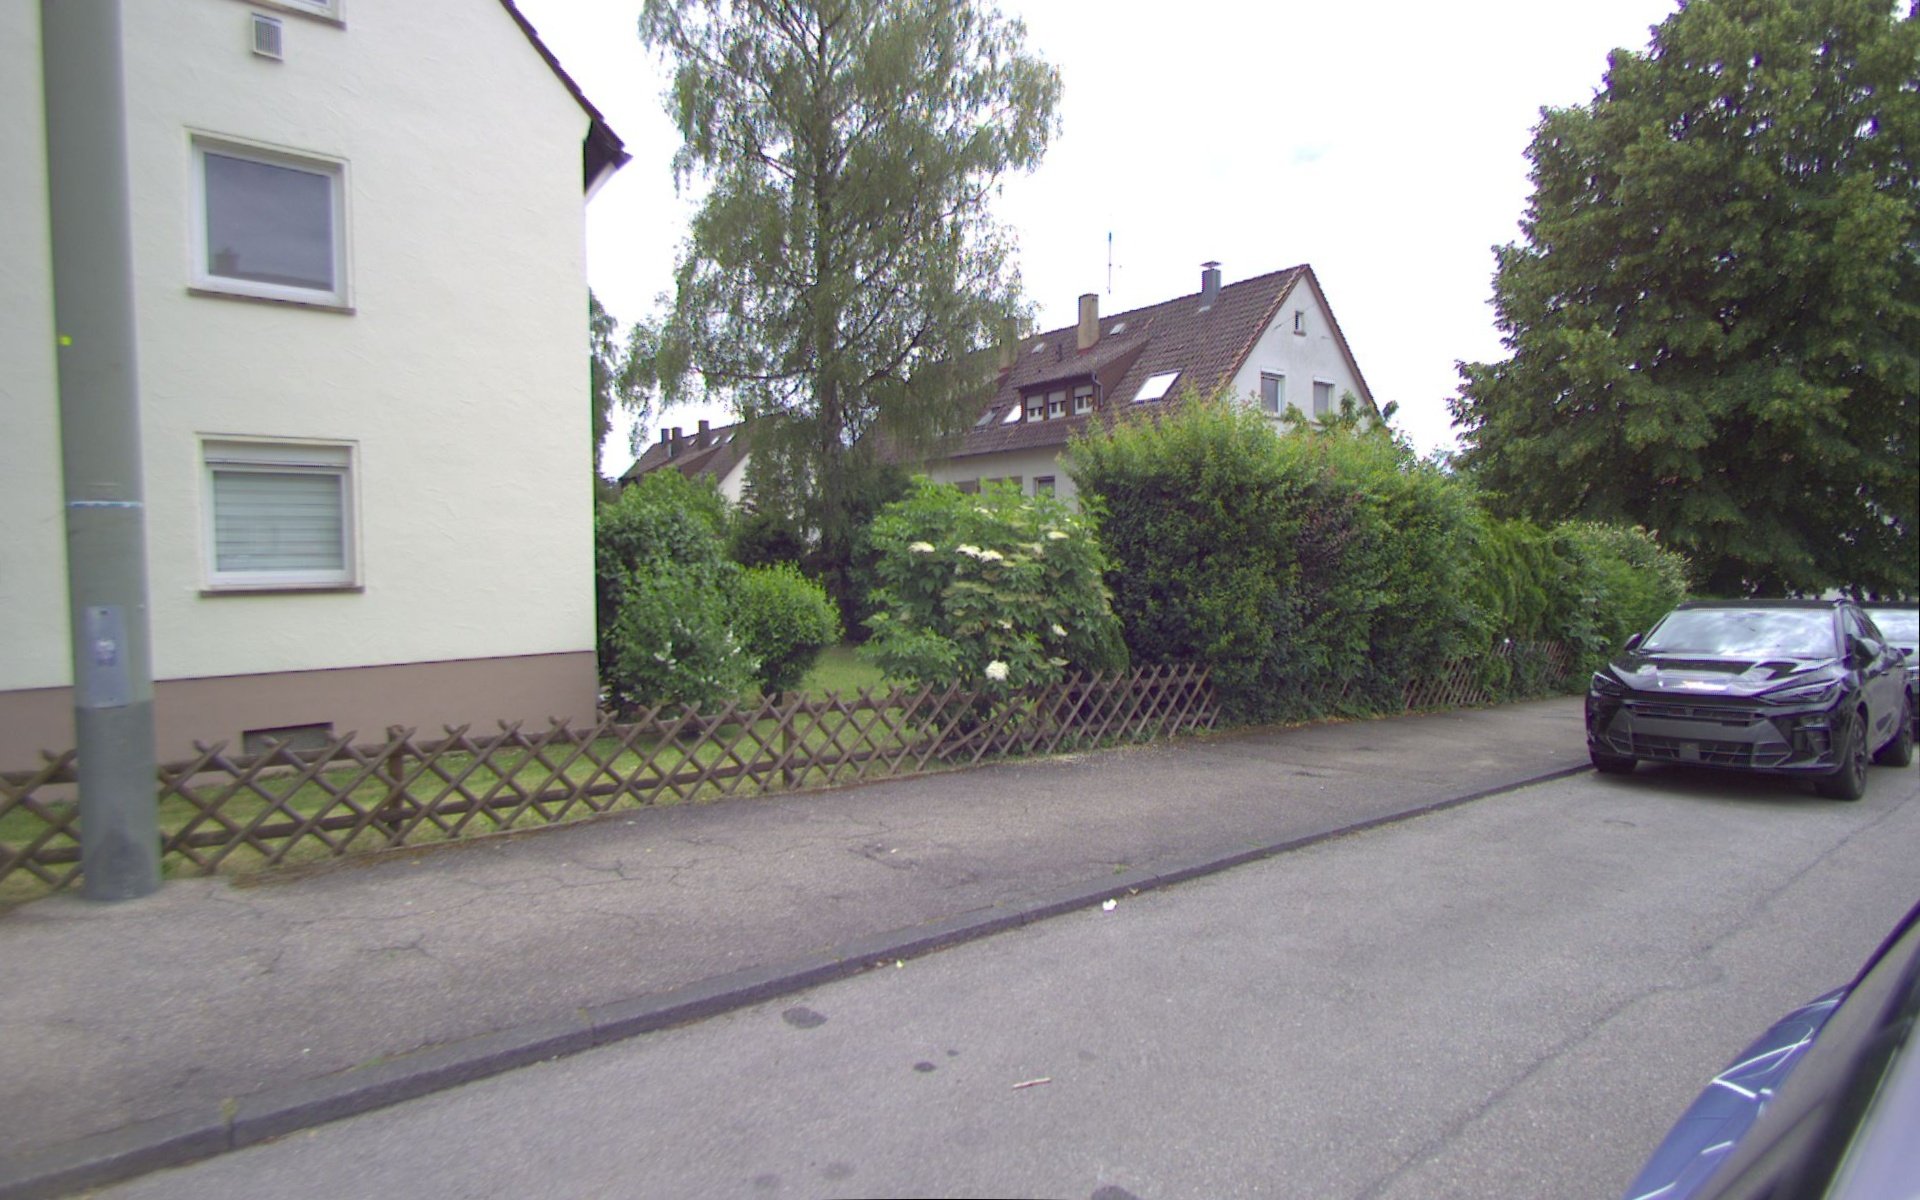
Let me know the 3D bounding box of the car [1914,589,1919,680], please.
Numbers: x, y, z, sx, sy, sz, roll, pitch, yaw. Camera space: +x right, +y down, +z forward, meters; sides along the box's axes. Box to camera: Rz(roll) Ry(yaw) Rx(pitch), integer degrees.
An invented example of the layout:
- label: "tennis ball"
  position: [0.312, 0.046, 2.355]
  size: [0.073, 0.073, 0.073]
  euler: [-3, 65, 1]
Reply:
- label: "car"
  position: [21.109, 0.682, 20.752]
  size: [4.242, 1.797, 1.840]
  euler: [0, -1, -41]

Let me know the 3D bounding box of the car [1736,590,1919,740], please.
- label: "car"
  position: [11.917, 0.702, 13.142]
  size: [4.459, 1.636, 1.997]
  euler: [-1, 0, -40]

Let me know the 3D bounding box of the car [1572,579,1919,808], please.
- label: "car"
  position: [7.514, 0.640, 9.371]
  size: [4.459, 1.636, 1.814]
  euler: [-1, 0, -40]

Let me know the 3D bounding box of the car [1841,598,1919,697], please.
- label: "car"
  position: [17.036, 0.769, 17.522]
  size: [4.538, 1.496, 1.998]
  euler: [-1, 2, -40]
